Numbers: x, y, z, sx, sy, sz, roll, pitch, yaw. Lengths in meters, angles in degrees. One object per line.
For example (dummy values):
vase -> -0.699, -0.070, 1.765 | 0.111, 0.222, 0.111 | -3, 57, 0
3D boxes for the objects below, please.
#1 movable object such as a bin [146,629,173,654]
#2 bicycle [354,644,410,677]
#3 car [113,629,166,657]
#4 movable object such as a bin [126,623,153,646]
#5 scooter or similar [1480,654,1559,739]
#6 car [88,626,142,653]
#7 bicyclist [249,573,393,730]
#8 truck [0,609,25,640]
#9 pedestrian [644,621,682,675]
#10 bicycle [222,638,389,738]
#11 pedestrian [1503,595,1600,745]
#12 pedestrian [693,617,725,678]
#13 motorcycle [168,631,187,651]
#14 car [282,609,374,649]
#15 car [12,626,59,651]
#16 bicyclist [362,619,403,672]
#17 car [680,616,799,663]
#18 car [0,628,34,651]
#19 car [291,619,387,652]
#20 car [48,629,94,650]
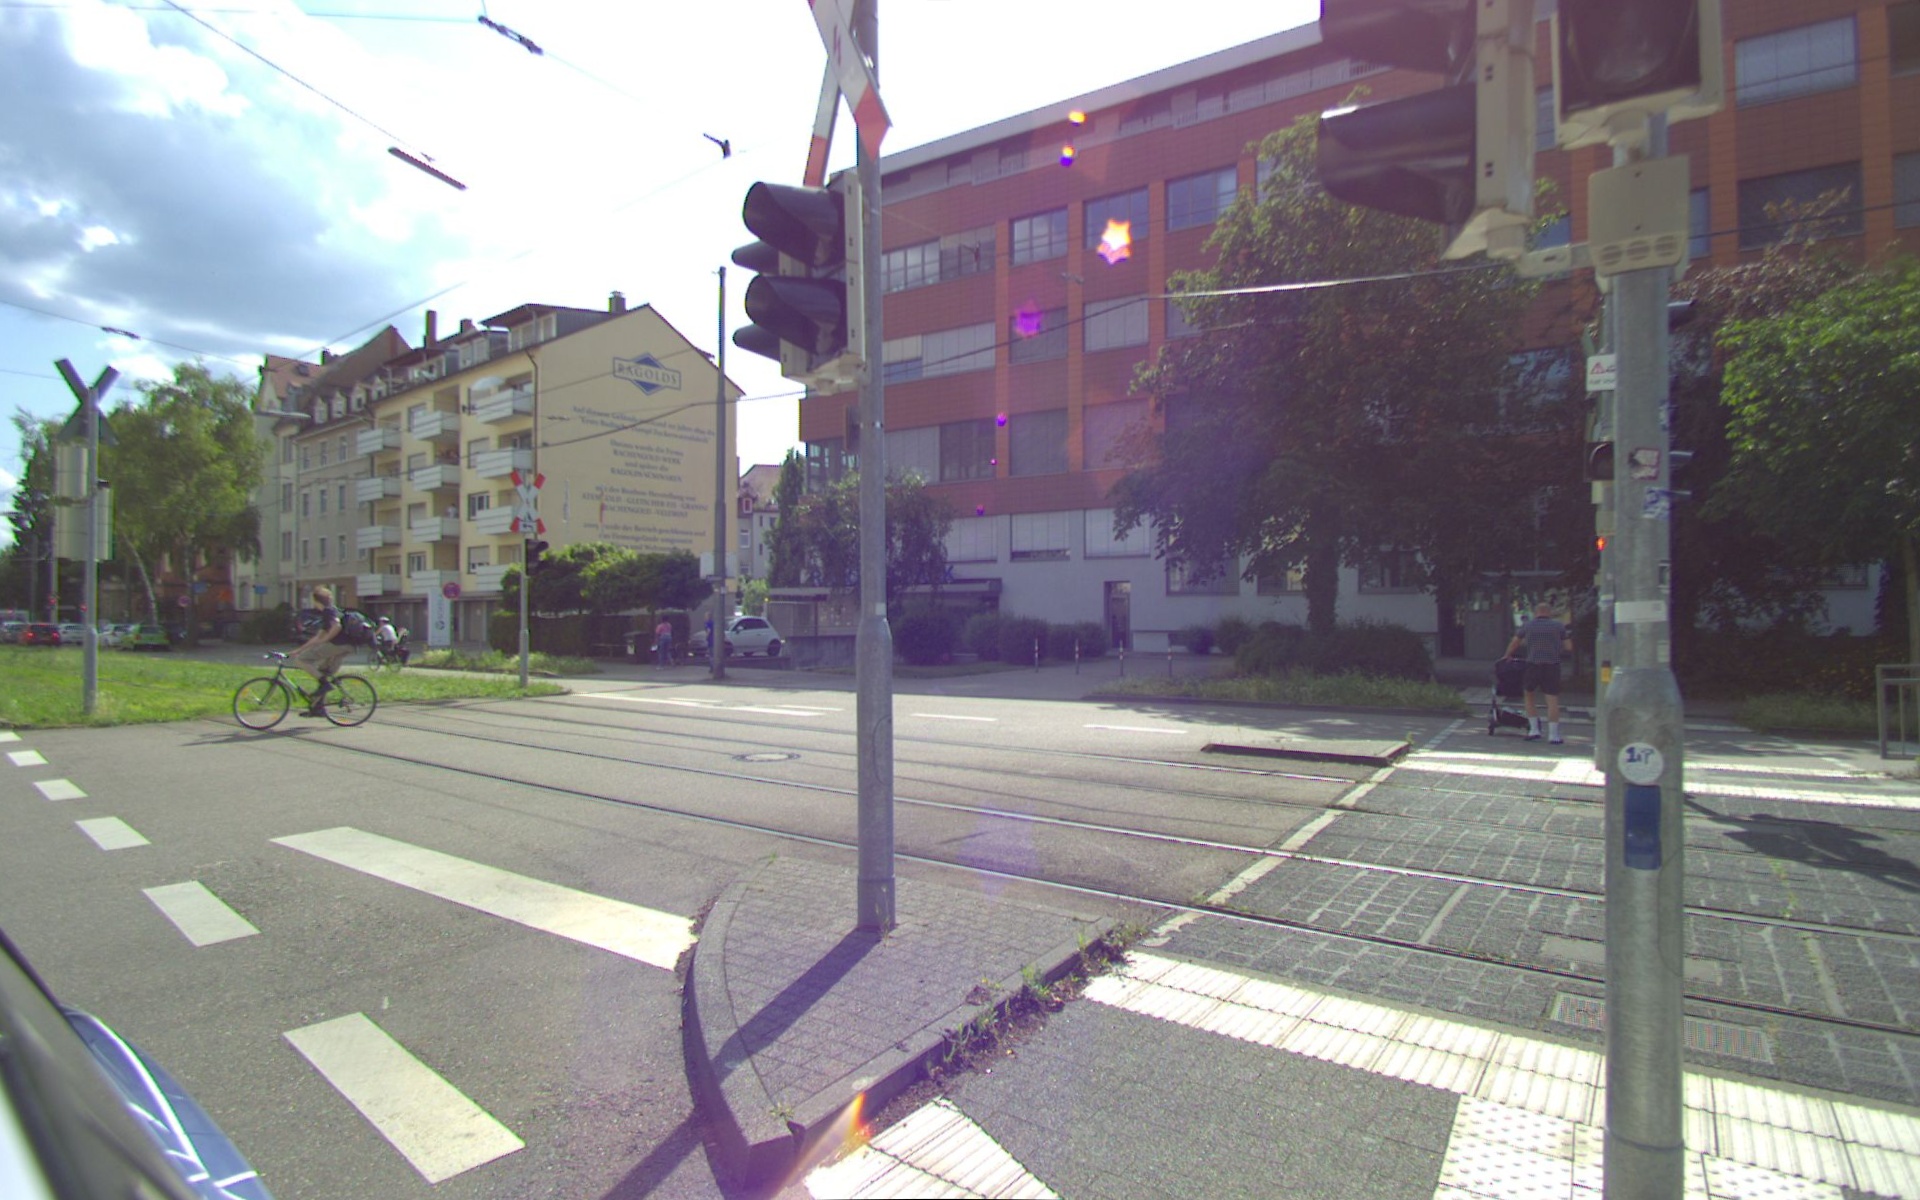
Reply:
movable object such as a bin -> -47.905, 2.471, 60.588 | 1.520, 1.440, 0.941 | -2, 0, 39
bicycle -> -17.755, 1.837, 31.071 | 2.175, 0.978, 0.674 | -1, -3, 37
car -> -44.501, 2.324, 54.895 | 3.612, 1.443, 1.578 | -1, -3, 40
movable object such as a bin -> -52.679, 2.230, 64.965 | 1.520, 1.377, 0.942 | -2, 3, 39
scooter or similar -> 7.485, 1.271, 13.582 | 0.791, 1.073, 0.950 | 0, -3, 22
car -> -48.443, 2.275, 58.001 | 4.222, 1.489, 1.628 | -1, -3, 40
bicyclist -> -8.690, 0.693, 13.847 | 1.549, 2.029, 0.953 | 1, -2, -28
truck -> -71.612, 1.881, 75.631 | 6.613, 2.231, 2.160 | -2, -3, 44
pedestrian -> -9.052, 1.435, 30.826 | 0.889, 1.585, 0.737 | 0, 0, 42
bicycle -> -8.854, 1.142, 13.708 | 1.760, 1.186, 1.159 | 0, -1, -41
pedestrian -> 7.418, 0.861, 12.749 | 0.999, 1.789, 0.865 | -1, -4, 29
pedestrian -> -6.999, 1.320, 28.208 | 0.746, 1.669, 0.551 | -1, -2, 42
motorcycle -> -44.503, 2.347, 57.544 | 1.631, 1.050, 0.494 | 0, 2, 39
car -> -35.266, 1.606, 56.542 | 1.937, 2.029, 3.944 | -2, 0, 42
car -> -54.831, 2.278, 60.004 | 3.690, 1.397, 1.563 | -1, -3, 40
bicyclist -> -17.678, 1.382, 30.979 | 0.862, 1.594, 0.778 | -1, -3, 37
car -> -8.007, 1.418, 37.079 | 1.996, 1.608, 3.951 | -1, -2, 36
car -> -60.564, 2.489, 64.517 | 4.510, 1.366, 1.737 | -1, -3, 41
car -> -33.404, 1.871, 54.495 | 1.971, 1.614, 3.948 | -1, 0, 39
car -> -58.650, 2.584, 66.729 | 3.993, 1.366, 1.737 | -1, -2, 41
